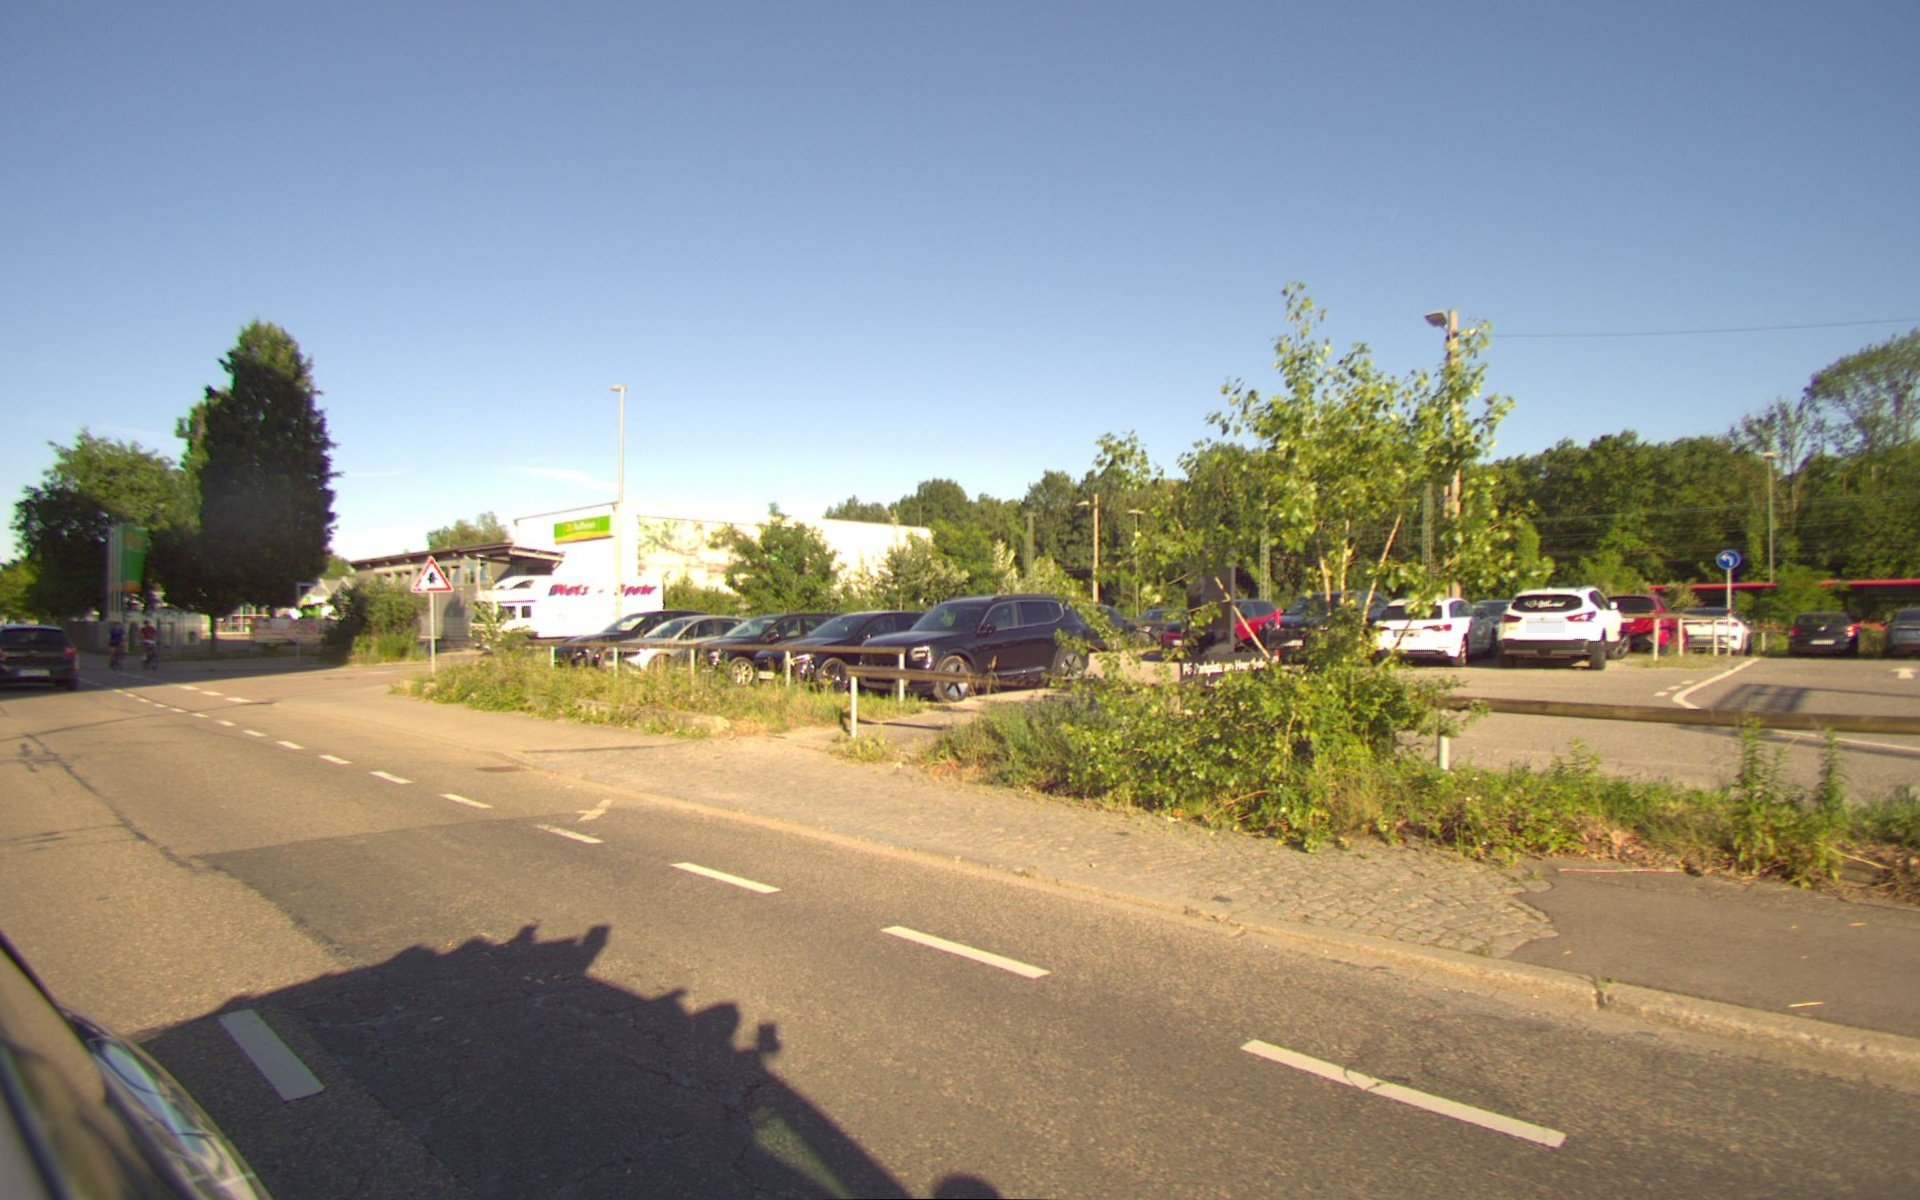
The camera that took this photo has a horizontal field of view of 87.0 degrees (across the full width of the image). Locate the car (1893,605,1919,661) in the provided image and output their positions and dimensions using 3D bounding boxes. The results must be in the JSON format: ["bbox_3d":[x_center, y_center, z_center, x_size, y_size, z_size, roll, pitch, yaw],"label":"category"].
[{"bbox_3d":[27.065,0.877,27.893,1.937,1.493,3.568,-3,-3,43],"label":"car"}]

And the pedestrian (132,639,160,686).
[{"bbox_3d":[-30.887,2.360,38.390,1.057,1.734,0.713,-3,-2,44],"label":"pedestrian"}]

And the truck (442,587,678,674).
[{"bbox_3d":[-18.320,1.276,47.123,2.776,3.642,9.988,-2,-1,43],"label":"truck"}]

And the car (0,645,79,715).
[{"bbox_3d":[-22.160,1.835,23.942,4.001,1.515,1.635,-2,-3,44],"label":"car"}]

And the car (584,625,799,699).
[{"bbox_3d":[-6.137,1.376,23.437,4.377,1.473,2.049,0,-2,-45],"label":"car"}]

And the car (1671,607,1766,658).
[{"bbox_3d":[23.597,0.992,31.447,1.937,1.493,3.568,-3,-3,43],"label":"car"}]

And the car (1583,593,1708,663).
[{"bbox_3d":[16.533,0.655,24.335,1.965,1.541,4.117,-3,-2,41],"label":"car"}]

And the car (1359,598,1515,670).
[{"bbox_3d":[10.405,0.704,21.942,2.047,1.408,4.118,-3,-2,40],"label":"car"}]

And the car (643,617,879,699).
[{"bbox_3d":[-4.030,1.136,20.962,4.377,1.473,2.049,0,-2,-45],"label":"car"}]

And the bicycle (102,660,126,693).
[{"bbox_3d":[-31.478,2.824,37.653,2.201,1.157,0.441,-3,-1,44],"label":"bicycle"}]

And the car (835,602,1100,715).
[{"bbox_3d":[0.241,0.908,17.382,4.377,1.683,2.049,0,-2,-45],"label":"car"}]

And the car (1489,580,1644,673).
[{"bbox_3d":[12.421,0.523,20.606,1.965,1.674,4.117,-3,-2,41],"label":"car"}]

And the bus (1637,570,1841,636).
[{"bbox_3d":[31.538,0.202,41.162,2.510,2.366,6.208,1,-3,-44],"label":"bus"}]

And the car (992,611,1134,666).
[{"bbox_3d":[3.098,1.091,29.793,2.047,1.476,4.357,-3,-2,40],"label":"car"}]

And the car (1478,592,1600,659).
[{"bbox_3d":[14.821,0.630,25.828,1.912,1.561,3.945,-3,-2,41],"label":"car"}]

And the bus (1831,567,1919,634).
[{"bbox_3d":[35.669,-0.010,36.940,2.510,2.366,5.592,1,-3,-44],"label":"bus"}]

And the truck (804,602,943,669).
[{"bbox_3d":[-3.810,1.575,45.787,2.316,2.829,6.424,-3,-2,42],"label":"truck"}]

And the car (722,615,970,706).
[{"bbox_3d":[-2.071,1.074,19.262,4.377,1.473,2.049,0,-2,-45],"label":"car"}]

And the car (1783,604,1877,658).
[{"bbox_3d":[25.994,0.923,30.209,1.937,1.493,3.568,-3,-3,43],"label":"car"}]

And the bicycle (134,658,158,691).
[{"bbox_3d":[-30.829,2.810,38.331,1.870,1.157,0.464,-3,-1,44],"label":"bicycle"}]

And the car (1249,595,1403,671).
[{"bbox_3d":[8.592,0.739,23.584,2.047,1.590,4.118,-3,-2,40],"label":"car"}]

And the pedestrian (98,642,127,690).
[{"bbox_3d":[-31.511,2.458,37.626,1.057,1.734,0.713,-3,-2,44],"label":"pedestrian"}]

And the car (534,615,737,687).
[{"bbox_3d":[-8.031,1.225,25.308,4.377,1.593,2.049,0,-2,-45],"label":"car"}]

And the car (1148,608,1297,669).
[{"bbox_3d":[6.719,0.939,25.677,2.047,1.408,4.118,-3,-2,40],"label":"car"}]
